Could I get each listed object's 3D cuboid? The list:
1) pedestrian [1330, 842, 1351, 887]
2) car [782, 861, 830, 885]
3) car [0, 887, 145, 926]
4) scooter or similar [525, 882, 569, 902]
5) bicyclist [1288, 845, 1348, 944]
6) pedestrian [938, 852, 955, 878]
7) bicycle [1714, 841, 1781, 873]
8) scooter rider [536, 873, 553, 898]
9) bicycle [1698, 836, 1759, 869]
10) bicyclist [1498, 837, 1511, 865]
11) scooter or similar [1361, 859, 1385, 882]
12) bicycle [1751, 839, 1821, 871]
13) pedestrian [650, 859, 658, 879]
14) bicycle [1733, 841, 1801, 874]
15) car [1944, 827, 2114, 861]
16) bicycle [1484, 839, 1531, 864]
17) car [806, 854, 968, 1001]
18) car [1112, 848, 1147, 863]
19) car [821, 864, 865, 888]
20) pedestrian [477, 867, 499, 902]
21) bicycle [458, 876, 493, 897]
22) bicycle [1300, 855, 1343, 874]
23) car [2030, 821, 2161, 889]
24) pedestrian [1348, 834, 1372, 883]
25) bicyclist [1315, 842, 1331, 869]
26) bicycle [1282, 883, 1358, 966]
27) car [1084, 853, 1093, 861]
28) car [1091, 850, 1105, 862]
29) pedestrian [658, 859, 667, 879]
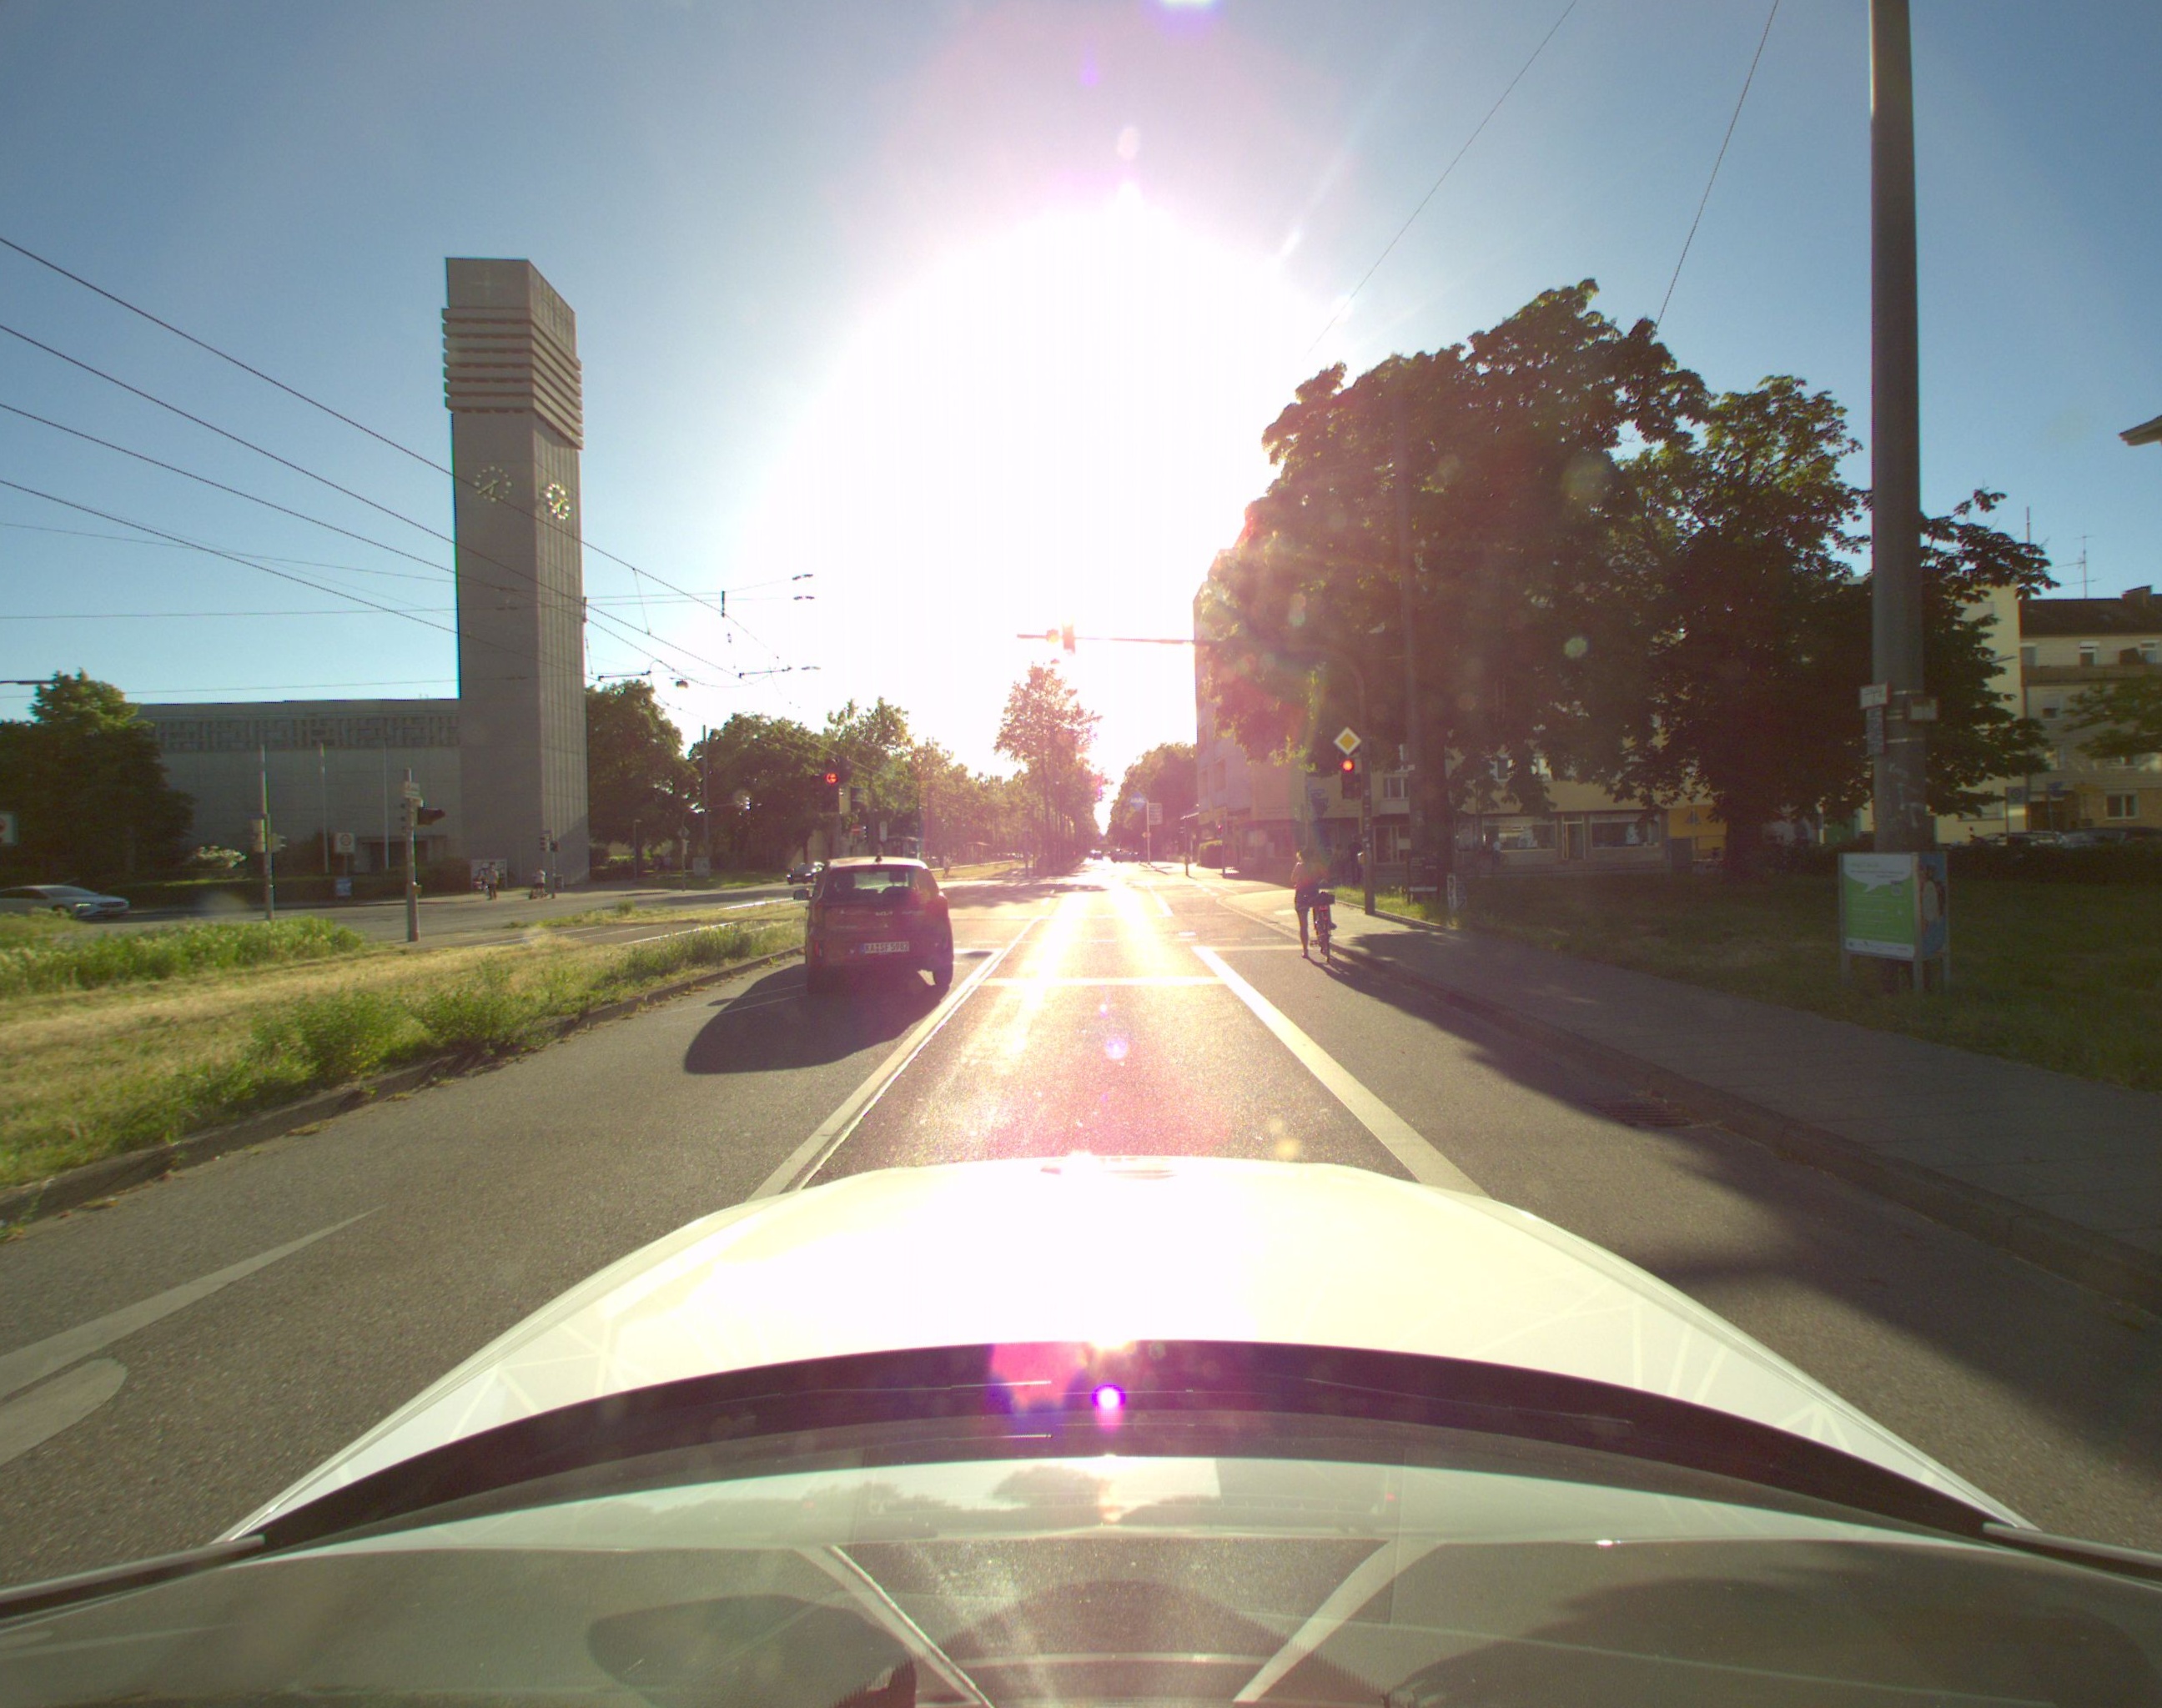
[{"bbox_3d":[9.021,0.353,28.308,0.642,1.522,0.498,1,0,13],"label":"pedestrian"},{"bbox_3d":[-19.579,1.313,58.099,1.800,1.533,4.362,-2,0,1],"label":"car"},{"bbox_3d":[-41.309,2.090,32.760,4.695,1.401,1.997,1,0,-5],"label":"car"},{"bbox_3d":[-27.087,1.936,41.339,1.737,0.899,0.561,-2,0,-15],"label":"scooter or similar"},{"bbox_3d":[3.308,0.549,11.421,0.635,1.323,0.804,1,0,3],"label":"bicyclist"},{"bbox_3d":[-8.373,0.682,50.733,0.887,1.606,0.614,1,0,1],"label":"pedestrian"},{"bbox_3d":[22.001,0.093,26.930,0.595,1.034,2.007,1,0,1],"label":"bicycle"},{"bbox_3d":[-27.211,1.595,41.306,0.526,1.218,0.584,1,0,-15],"label":"scooter rider"},{"bbox_3d":[21.356,-0.044,26.892,0.595,1.034,1.796,1,0,1],"label":"bicycle"},{"bbox_3d":[24.417,-0.161,46.947,0.525,1.567,0.464,1,0,-1],"label":"bicyclist"},{"bbox_3d":[9.934,0.556,27.725,0.596,0.737,0.681,1,0,1],"label":"scooter or similar"},{"bbox_3d":[23.286,0.026,26.946,0.595,1.034,2.007,1,0,1],"label":"bicycle"},{"bbox_3d":[-32.366,1.130,61.724,0.434,1.560,0.305,1,0,-3],"label":"pedestrian"},{"bbox_3d":[22.654,0.104,26.930,0.595,1.034,1.991,1,0,1],"label":"bicycle"},{"bbox_3d":[46.772,-0.475,40.372,5.044,1.494,2.243,-1,2,25],"label":"car"},{"bbox_3d":[24.879,-0.132,47.516,2.462,1.399,0.608,1,0,0],"label":"bicycle"},{"bbox_3d":[-2.636,0.764,10.499,1.699,1.508,3.676,0,0,-19],"label":"car"},{"bbox_3d":[6.048,0.191,101.748,3.950,1.860,2.024,1,0,27],"label":"car"},{"bbox_3d":[-16.951,1.547,58.243,1.681,1.533,4.362,-2,0,1],"label":"car"},{"bbox_3d":[-29.514,1.514,40.562,0.440,1.666,0.748,1,0,11],"label":"pedestrian"},{"bbox_3d":[-33.501,1.786,45.054,0.488,1.045,1.687,1,0,9],"label":"bicycle"},{"bbox_3d":[13.374,0.580,45.308,2.234,0.987,0.792,-1,5,16],"label":"bicycle"},{"bbox_3d":[25.162,-0.008,19.422,3.238,1.529,1.575,-2,0,-1],"label":"car"},{"bbox_3d":[9.696,0.137,28.344,0.724,1.682,0.534,1,0,13],"label":"pedestrian"},{"bbox_3d":[13.471,0.063,45.290,0.762,1.471,0.902,-2,1,18],"label":"bicyclist"},{"bbox_3d":[3.275,0.933,11.299,0.645,0.972,1.805,1,0,4],"label":"bicycle"},{"bbox_3d":[1.510,0.530,166.887,1.888,1.611,4.500,1,0,0],"label":"car"},{"bbox_3d":[2.628,0.278,126.982,1.962,1.860,3.999,1,0,0],"label":"car"},{"bbox_3d":[-31.695,1.156,61.725,0.434,1.507,0.488,1,0,-3],"label":"pedestrian"}]
